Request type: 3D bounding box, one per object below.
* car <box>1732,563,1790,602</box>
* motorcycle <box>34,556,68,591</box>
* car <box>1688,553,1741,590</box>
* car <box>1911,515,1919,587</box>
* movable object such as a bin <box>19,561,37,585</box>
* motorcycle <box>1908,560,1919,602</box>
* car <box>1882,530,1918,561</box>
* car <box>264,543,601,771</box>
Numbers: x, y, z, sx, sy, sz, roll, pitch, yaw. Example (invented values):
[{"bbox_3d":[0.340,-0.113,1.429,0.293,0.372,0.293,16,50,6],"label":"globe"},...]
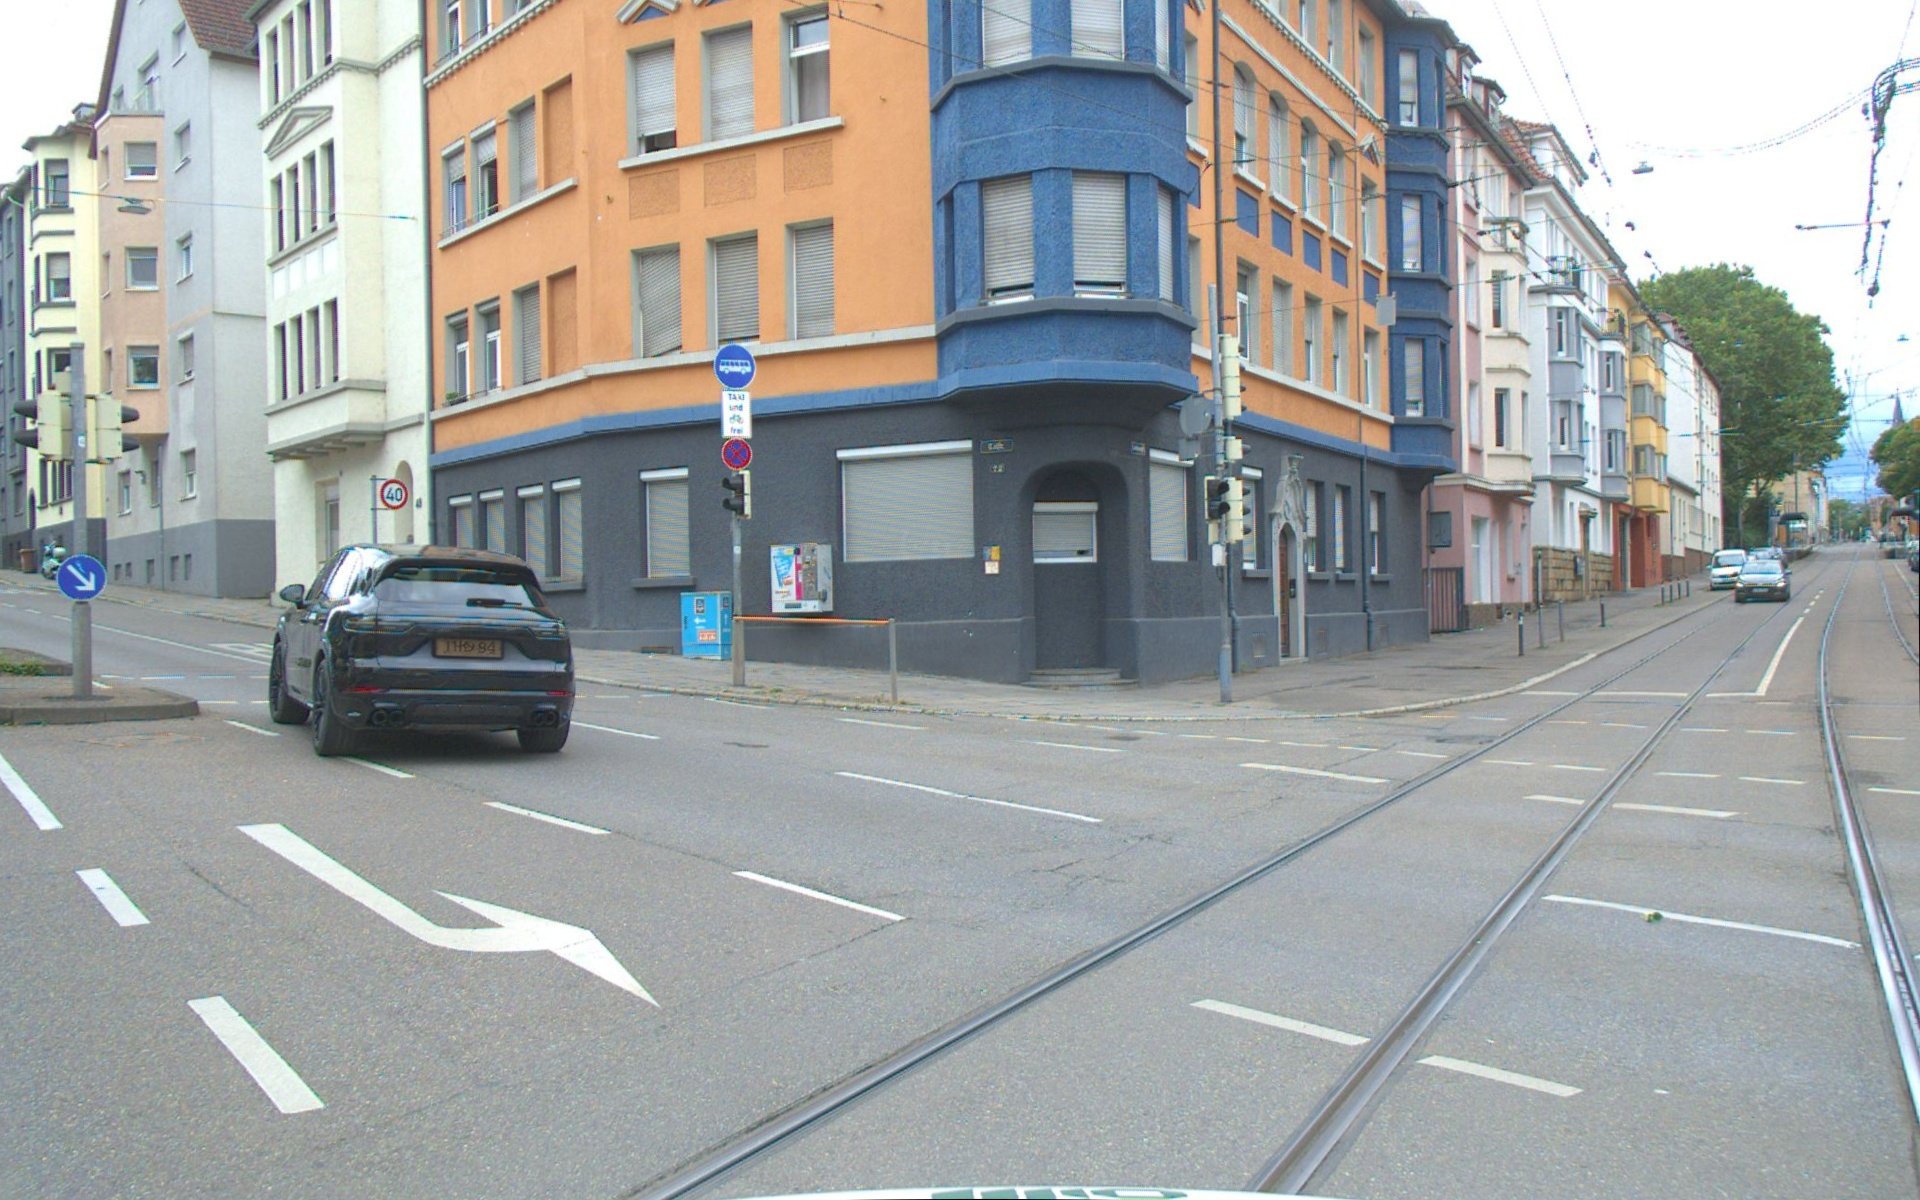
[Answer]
[{"bbox_3d":[29.021,-0.646,59.893,1.654,1.350,3.656,1,1,29],"label":"car"},{"bbox_3d":[-32.085,-0.953,58.379,0.535,1.175,2.192,-4,4,-42],"label":"motorcycle"},{"bbox_3d":[35.801,-1.345,78.453,1.956,1.722,3.993,1,1,29],"label":"car"},{"bbox_3d":[41.243,-2.015,69.429,2.225,2.941,4.761,1,1,29],"label":"car"},{"bbox_3d":[-36.034,-1.039,63.926,0.472,0.907,0.509,-4,4,-40],"label":"movable object such as a bin"},{"bbox_3d":[31.743,-0.591,53.132,2.131,1.350,0.700,1,1,19],"label":"motorcycle"},{"bbox_3d":[70.015,-4.072,123.231,2.225,2.221,4.761,1,1,29],"label":"car"},{"bbox_3d":[-4.762,0.406,14.488,2.002,1.670,4.314,2,0,-29],"label":"car"}]
